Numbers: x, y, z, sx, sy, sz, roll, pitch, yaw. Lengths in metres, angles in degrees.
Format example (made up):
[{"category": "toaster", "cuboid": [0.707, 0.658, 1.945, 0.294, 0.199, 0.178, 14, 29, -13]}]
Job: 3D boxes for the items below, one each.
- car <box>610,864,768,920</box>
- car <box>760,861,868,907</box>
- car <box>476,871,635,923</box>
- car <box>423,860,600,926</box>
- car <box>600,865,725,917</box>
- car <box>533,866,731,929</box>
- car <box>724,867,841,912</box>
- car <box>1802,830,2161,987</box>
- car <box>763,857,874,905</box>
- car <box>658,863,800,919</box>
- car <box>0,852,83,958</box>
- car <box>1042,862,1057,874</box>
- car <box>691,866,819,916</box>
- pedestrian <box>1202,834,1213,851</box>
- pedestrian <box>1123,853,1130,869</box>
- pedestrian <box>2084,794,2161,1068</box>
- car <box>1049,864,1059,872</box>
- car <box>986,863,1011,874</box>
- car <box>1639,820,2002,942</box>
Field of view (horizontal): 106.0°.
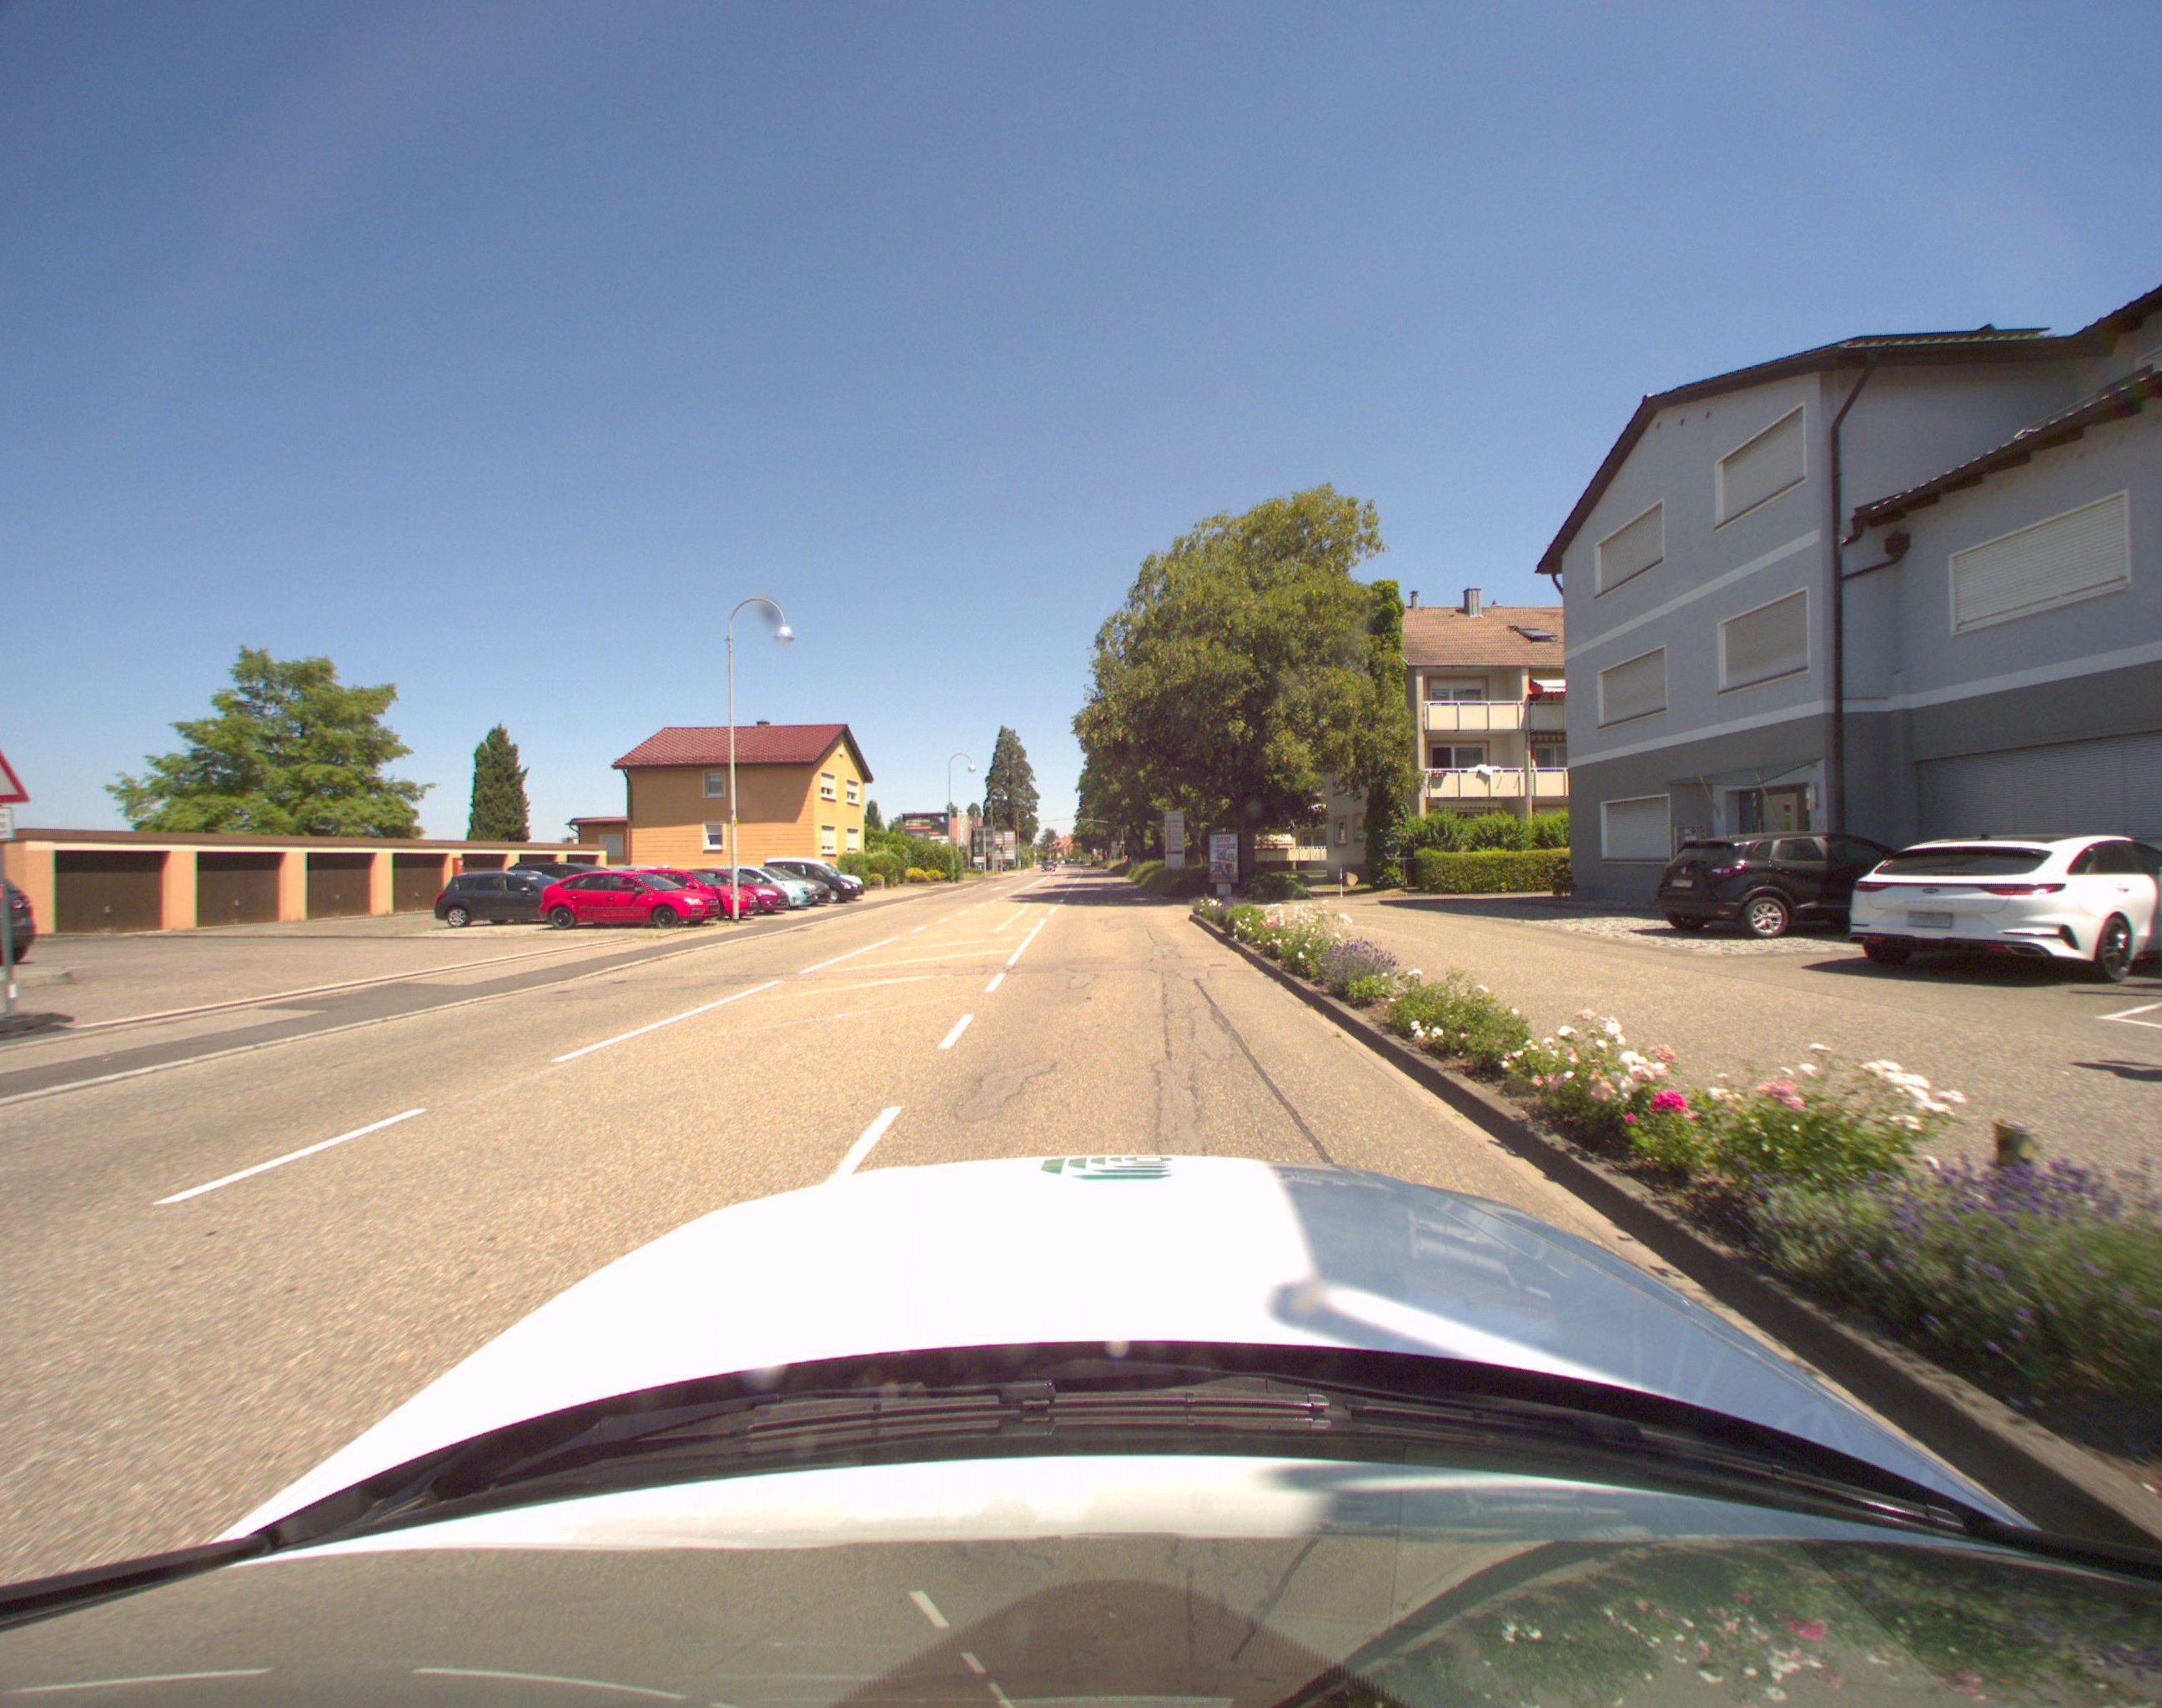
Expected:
[{"category": "car", "cuboid": [-11.376, 1.076, 23.846, 3.653, 1.457, 1.891, -2, -1, -1]}, {"category": "car", "cuboid": [-10.707, 1.198, 32.868, 3.653, 1.672, 1.921, -2, -1, -1]}, {"category": "car", "cuboid": [-16.254, 1.306, 25.349, 3.653, 1.457, 1.891, -2, -1, -1]}, {"category": "car", "cuboid": [-16.185, 1.078, 23.287, 3.654, 1.709, 1.891, -2, -1, -2]}, {"category": "car", "cuboid": [-15.671, 1.376, 30.636, 3.653, 1.776, 1.921, -2, -1, -1]}, {"category": "car", "cuboid": [-11.644, 1.093, 21.323, 4.112, 1.444, 1.827, -2, -1, 0]}, {"category": "car", "cuboid": [-11.156, 1.301, 30.623, 3.653, 1.532, 1.921, -2, -1, -1]}, {"category": "car", "cuboid": [10.453, 0.473, 9.006, 4.360, 1.371, 1.941, -1, -1, -22]}, {"category": "car", "cuboid": [-11.198, 1.141, 34.975, 4.085, 1.898, 1.997, -2, -1, -4]}, {"category": "car", "cuboid": [-11.195, 1.153, 26.100, 3.653, 1.605, 1.881, -2, -1, -1]}, {"category": "car", "cuboid": [-18.136, 0.823, 12.366, 3.969, 1.584, 1.756, -2, -1, 4]}, {"category": "car", "cuboid": [-4.211, 1.859, 109.848, 1.704, 1.495, 4.278, -2, 0, 1]}, {"category": "car", "cuboid": [-11.335, 1.277, 28.511, 3.653, 1.581, 1.921, -2, -1, -1]}, {"category": "pedestrian", "cuboid": [10.152, -0.892, 65.390, 0.659, 1.335, 0.889, -2, -1, 1]}, {"category": "pedestrian", "cuboid": [5.011, 0.813, 89.707, 0.607, 1.751, 0.565, -2, -1, 26]}, {"category": "pedestrian", "cuboid": [6.845, 0.440, 4.674, 0.836, 1.641, 1.011, -3, -1, 6]}, {"category": "car", "cuboid": [-6.107, 3.196, 185.269, 1.872, 1.717, 4.310, -2, 0, 1]}, {"category": "car", "cuboid": [-11.891, 2.032, 117.400, 3.480, 1.427, 1.600, -2, -1, -1]}, {"category": "car", "cuboid": [11.388, 0.409, 12.769, 3.973, 1.550, 1.798, -3, -1, 0]}]
